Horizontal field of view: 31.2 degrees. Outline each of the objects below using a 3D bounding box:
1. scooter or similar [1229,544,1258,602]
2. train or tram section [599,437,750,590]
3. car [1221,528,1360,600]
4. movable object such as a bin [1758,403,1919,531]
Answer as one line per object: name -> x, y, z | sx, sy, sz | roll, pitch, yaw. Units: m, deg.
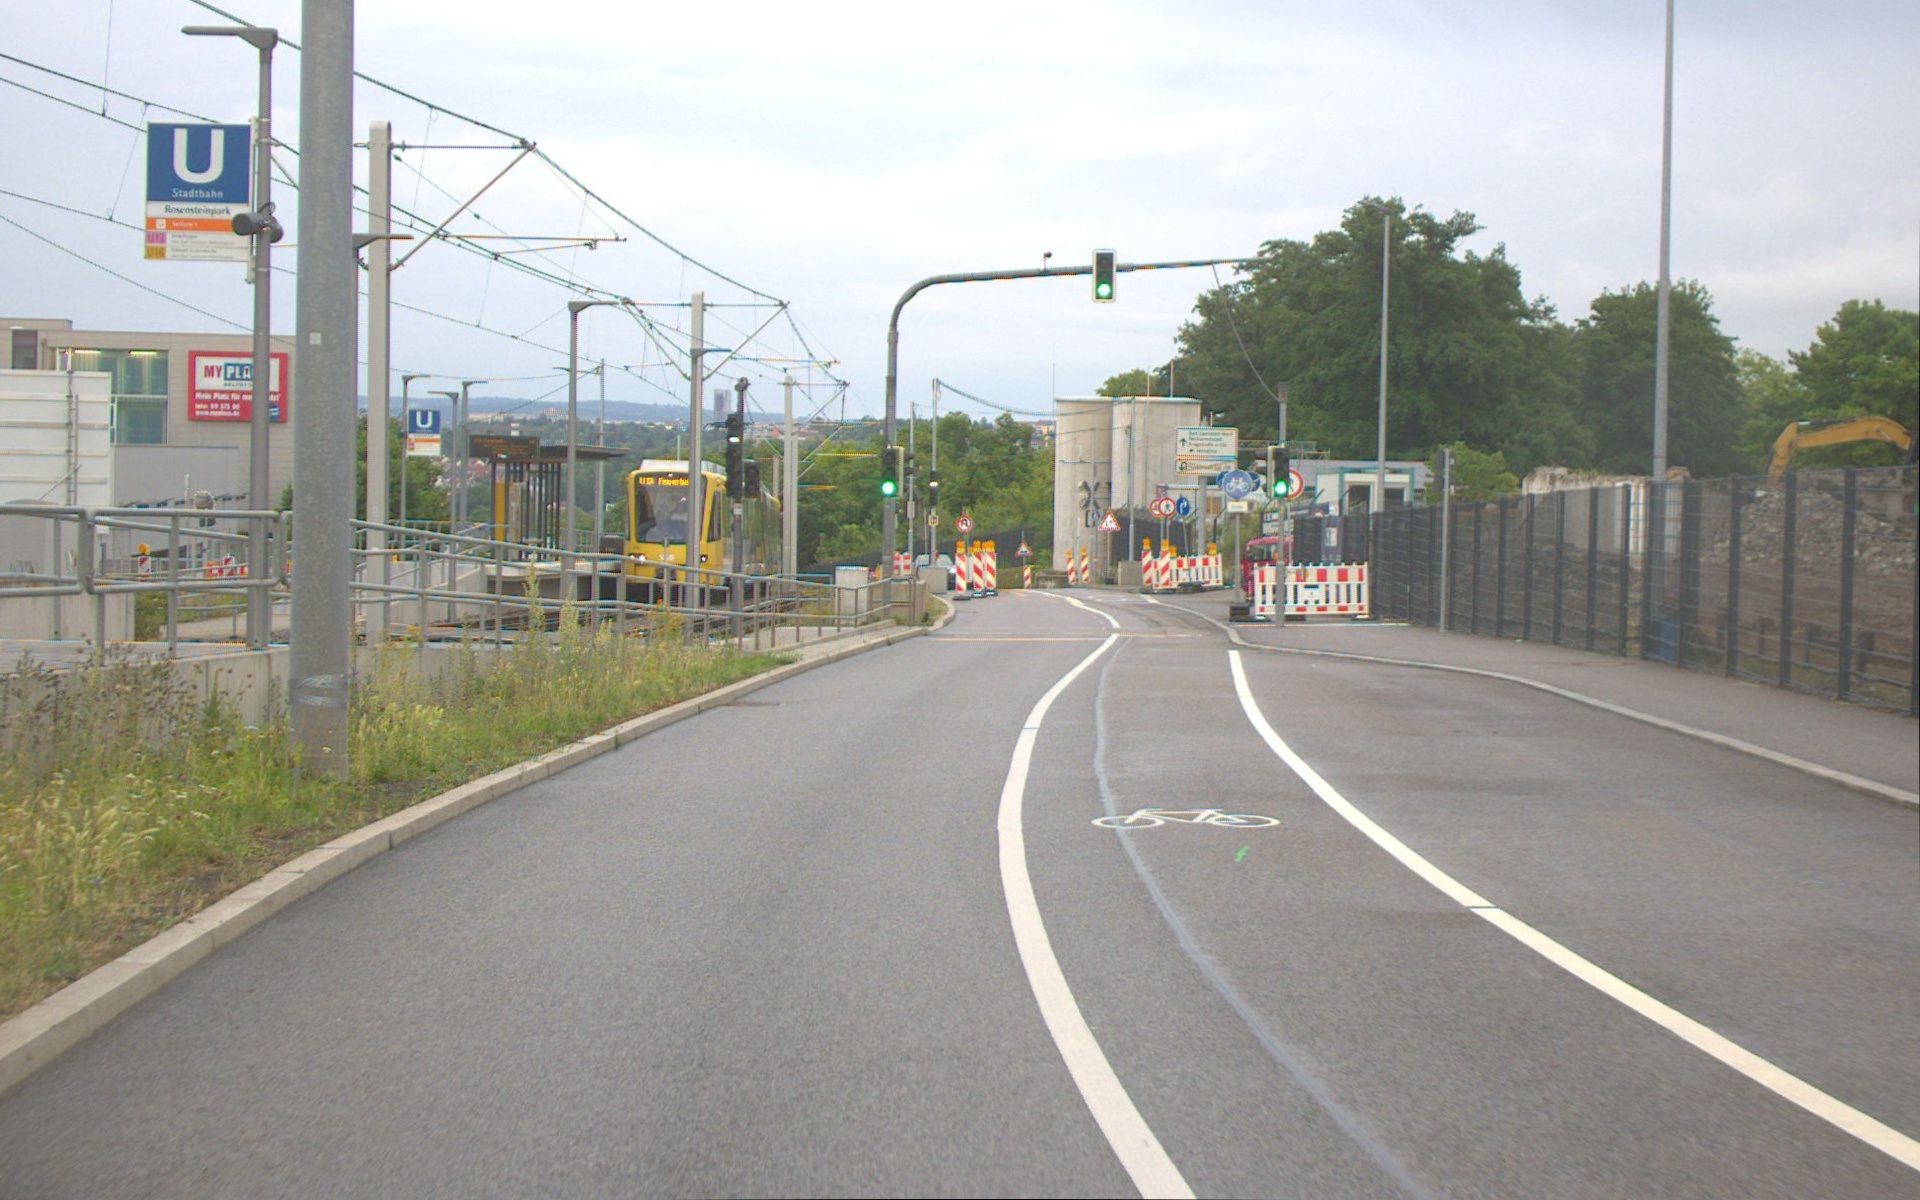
scooter or similar -> 6.766, -0.657, 81.999 | 0.615, 1.347, 1.912 | 0, 1, 7
train or tram section -> -8.001, -2.410, 98.976 | 2.955, 3.872, 19.574 | 2, 1, -1
car -> 8.494, -0.930, 88.064 | 1.823, 1.787, 4.401 | 1, 1, 31
movable object such as a bin -> 43.999, -6.312, 164.083 | 11.235, 5.975, 3.490 | 0, 0, 9
